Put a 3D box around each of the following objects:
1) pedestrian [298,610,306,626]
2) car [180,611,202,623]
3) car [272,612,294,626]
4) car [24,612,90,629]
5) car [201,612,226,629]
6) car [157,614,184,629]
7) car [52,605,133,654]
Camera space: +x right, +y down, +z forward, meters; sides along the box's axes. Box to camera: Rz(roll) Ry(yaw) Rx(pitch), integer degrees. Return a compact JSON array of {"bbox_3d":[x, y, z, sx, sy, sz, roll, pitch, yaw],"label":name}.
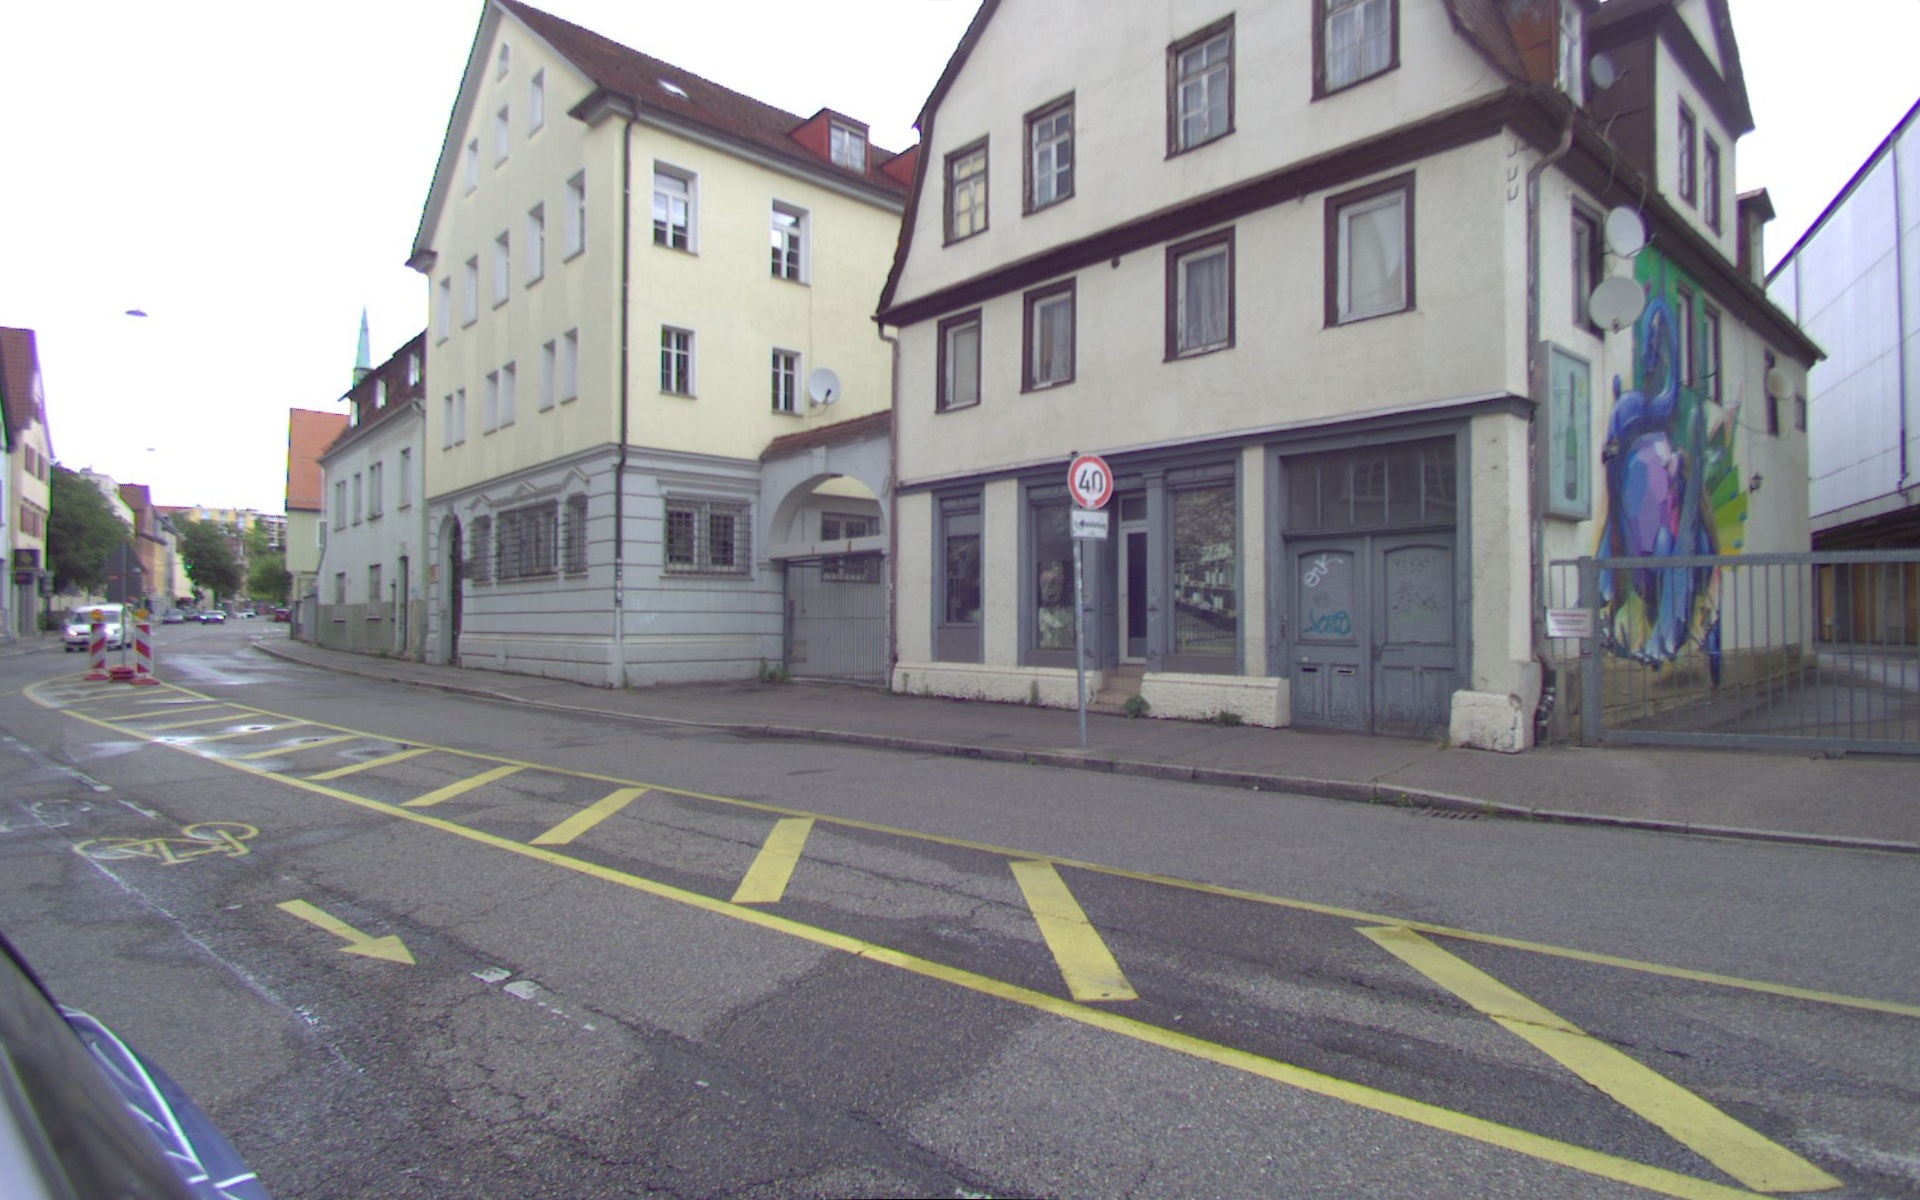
[{"bbox_3d":[-84.666,2.337,130.194,0.823,2.029,0.847,1,-2,-36],"label":"pedestrian"},{"bbox_3d":[-96.604,2.162,127.187,1.792,1.399,4.011,2,-2,-32],"label":"car"},{"bbox_3d":[-85.892,2.454,128.409,2.178,1.690,4.509,2,-2,-36],"label":"car"},{"bbox_3d":[-77.435,1.746,86.880,3.932,1.475,2.006,0,0,-33],"label":"car"},{"bbox_3d":[-77.983,2.159,105.714,1.967,1.691,4.010,0,0,-34],"label":"car"},{"bbox_3d":[-84.980,2.294,108.979,2.001,1.567,4.010,2,-2,-35],"label":"car"},{"bbox_3d":[-34.278,1.132,40.103,1.967,1.800,4.478,2,-1,-35],"label":"car"}]
